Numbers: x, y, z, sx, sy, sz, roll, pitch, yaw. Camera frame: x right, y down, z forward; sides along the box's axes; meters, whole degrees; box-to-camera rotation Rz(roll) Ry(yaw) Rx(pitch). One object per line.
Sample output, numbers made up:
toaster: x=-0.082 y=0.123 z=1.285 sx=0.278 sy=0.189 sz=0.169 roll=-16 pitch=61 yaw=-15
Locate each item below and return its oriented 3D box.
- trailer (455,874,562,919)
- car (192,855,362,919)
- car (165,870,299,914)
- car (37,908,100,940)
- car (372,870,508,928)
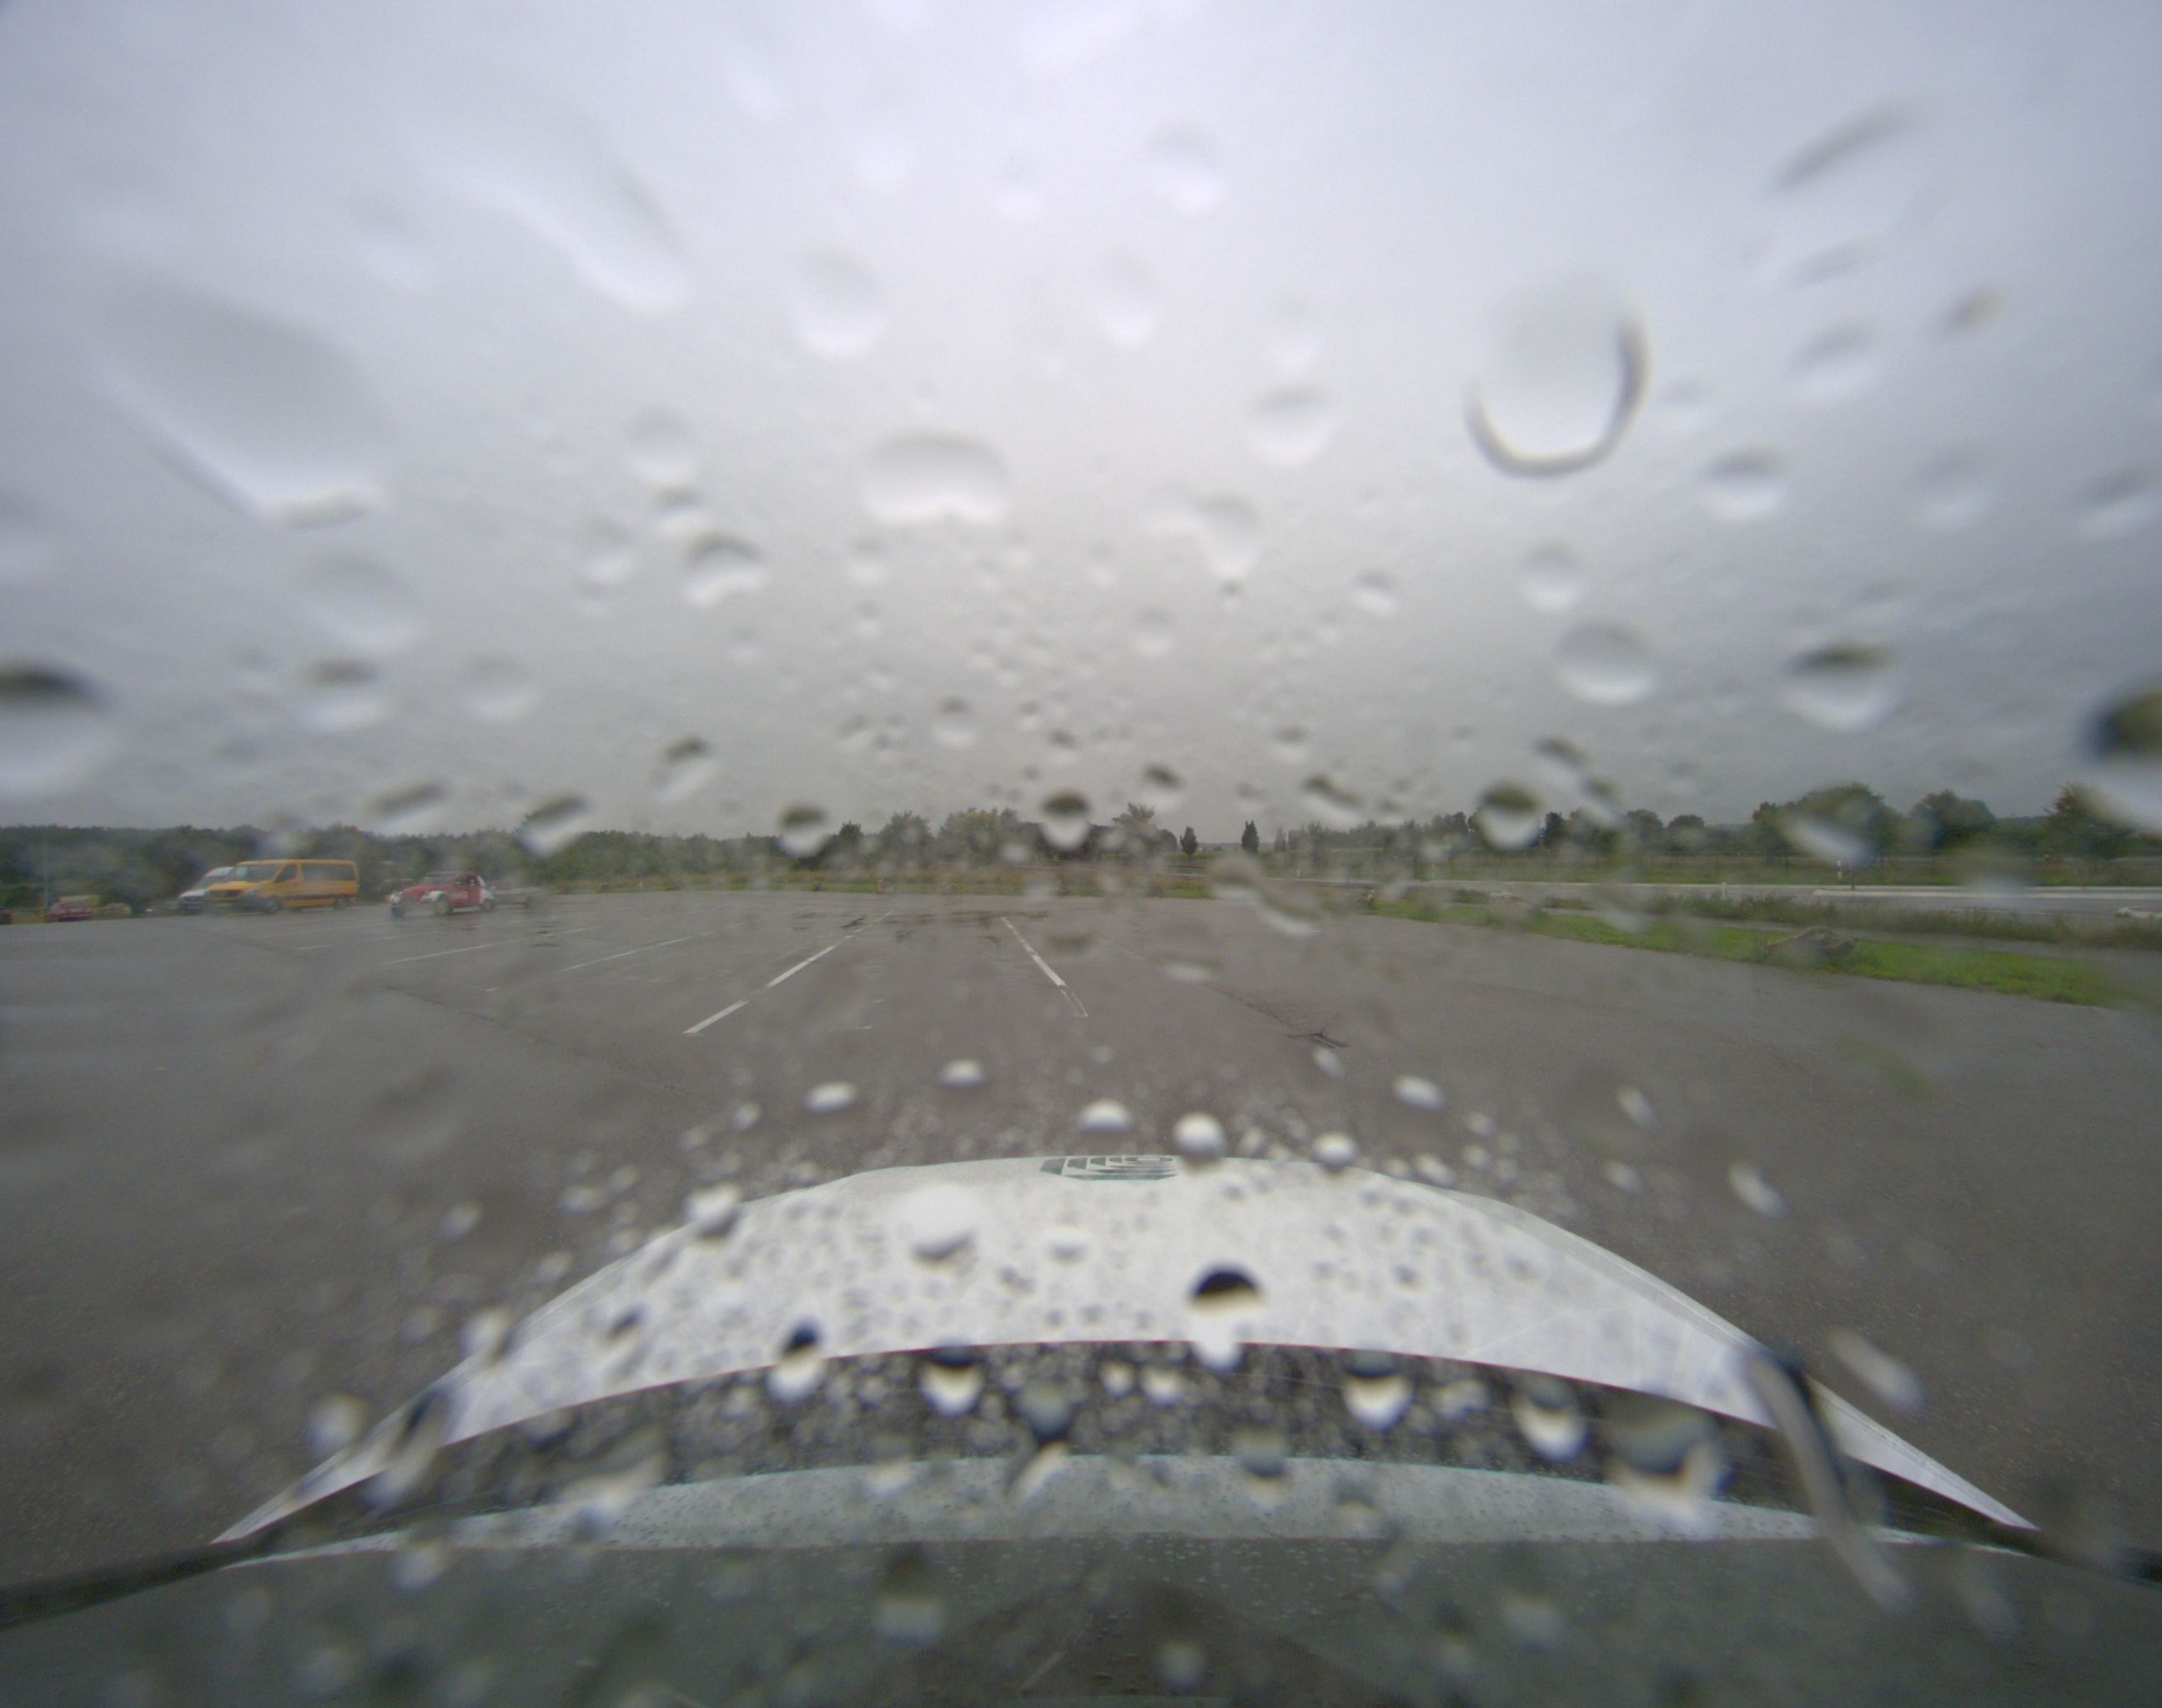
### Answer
trailer: x=-22.630 y=1.635 z=32.393 sx=1.693 sy=1.532 sz=3.991 roll=-2 pitch=0 yaw=-7
car: x=-34.144 y=1.346 z=34.917 sx=1.994 sy=2.380 sz=6.005 roll=-3 pitch=-1 yaw=-10
car: x=-46.213 y=2.019 z=44.493 sx=1.983 sy=2.201 sz=4.783 roll=0 pitch=-1 yaw=7
car: x=-71.054 y=4.913 z=57.124 sx=3.951 sy=2.013 sz=1.696 roll=-3 pitch=-1 yaw=23
car: x=-22.198 y=1.481 z=28.417 sx=1.820 sy=1.777 sz=3.991 roll=-2 pitch=-1 yaw=-6
